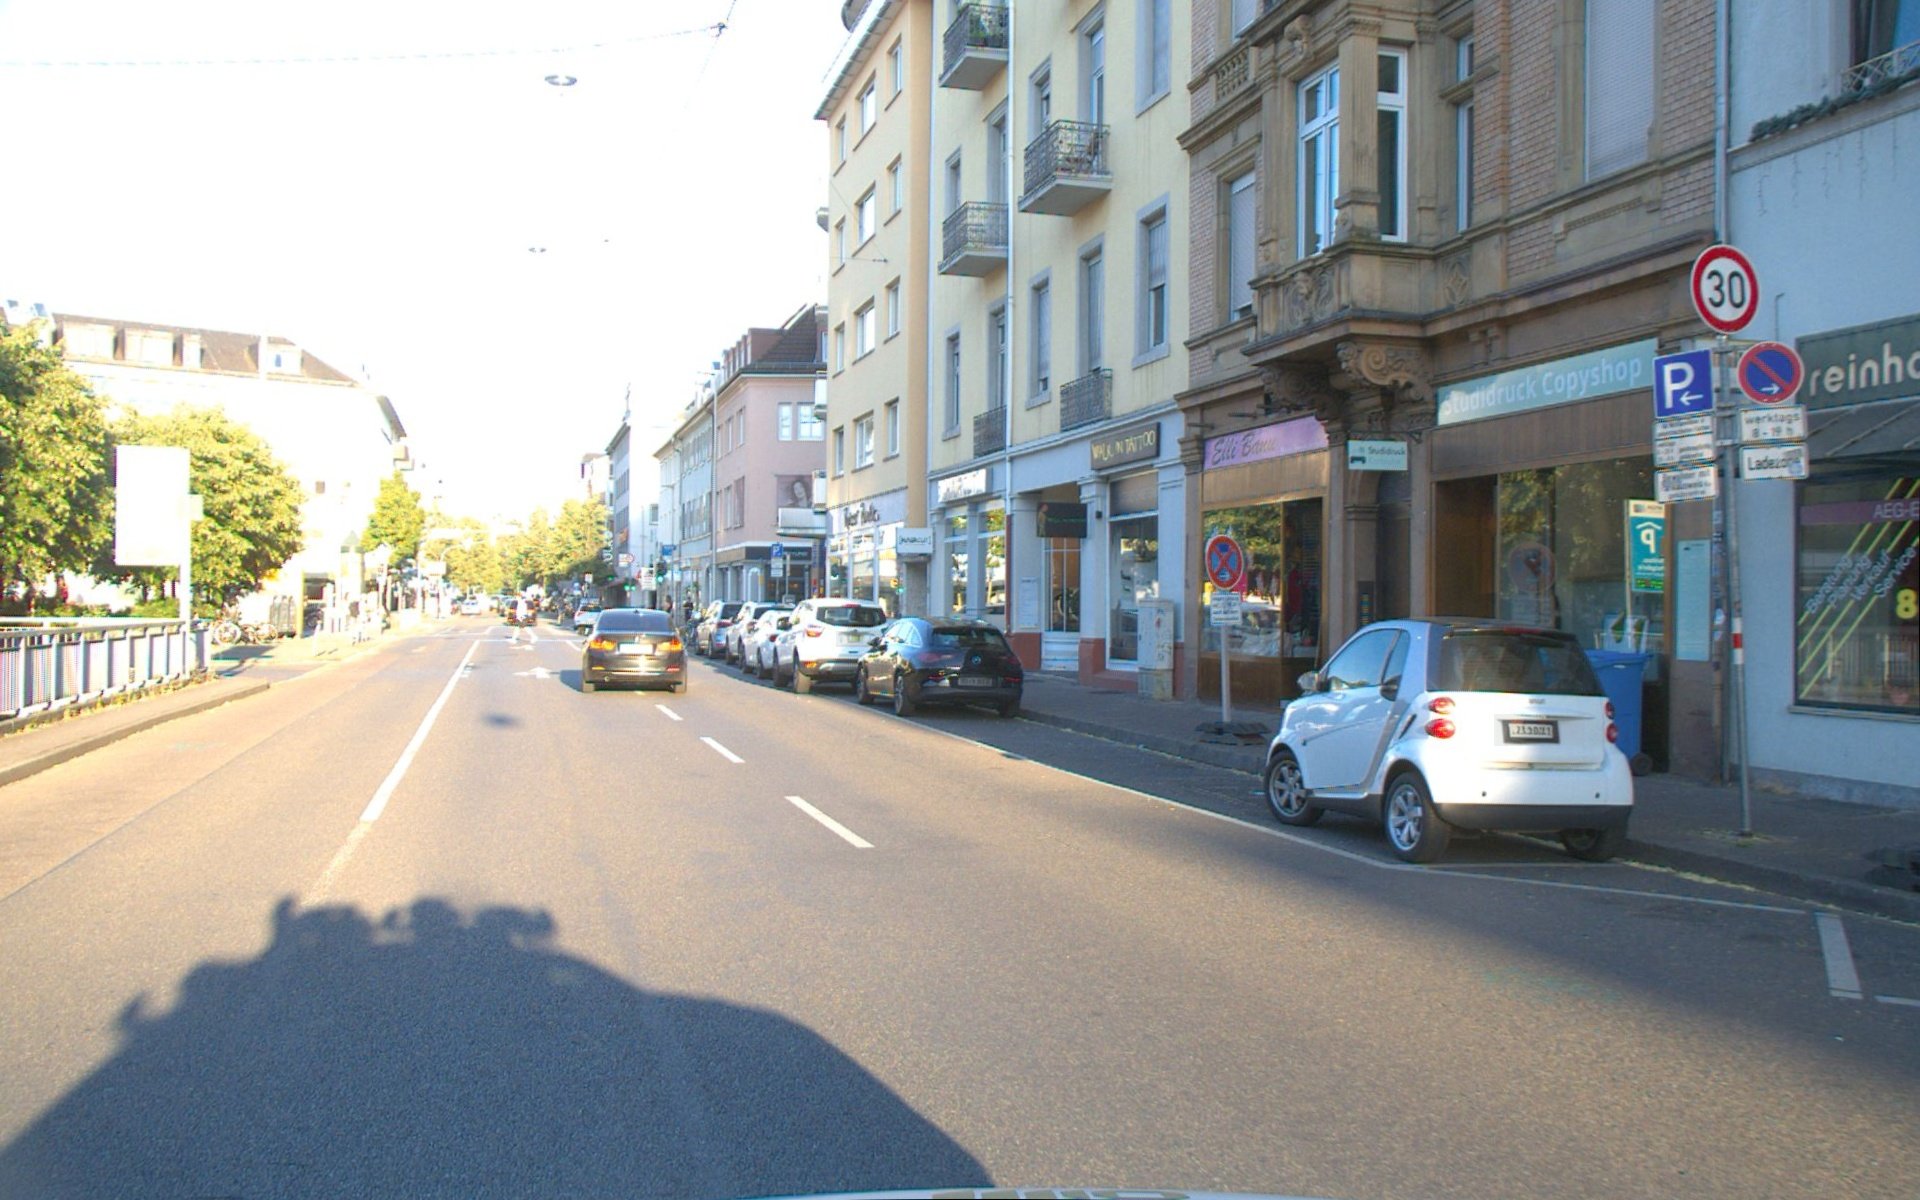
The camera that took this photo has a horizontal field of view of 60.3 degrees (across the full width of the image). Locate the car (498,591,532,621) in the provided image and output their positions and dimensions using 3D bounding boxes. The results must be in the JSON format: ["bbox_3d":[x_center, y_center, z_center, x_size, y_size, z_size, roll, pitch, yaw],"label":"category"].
[{"bbox_3d":[-27.328,0.374,101.578,1.961,1.780,3.983,1,0,-16],"label":"car"}]

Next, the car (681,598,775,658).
[{"bbox_3d":[-6.768,0.771,47.909,1.962,1.641,4.780,1,0,-17],"label":"car"}]

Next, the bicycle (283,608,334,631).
[{"bbox_3d":[-34.558,1.036,87.767,2.485,1.166,0.697,1,-1,-19],"label":"bicycle"}]

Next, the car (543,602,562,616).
[{"bbox_3d":[-49.081,1.062,199.140,1.865,1.624,3.978,1,0,-19],"label":"car"}]

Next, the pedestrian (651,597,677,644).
[{"bbox_3d":[-11.201,0.770,62.584,0.783,1.751,0.807,1,-1,-21],"label":"pedestrian"}]

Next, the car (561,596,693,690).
[{"bbox_3d":[-5.947,0.713,29.211,1.859,1.518,4.184,1,0,-17],"label":"car"}]

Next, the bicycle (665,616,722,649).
[{"bbox_3d":[-9.348,1.141,58.063,1.856,1.132,0.758,1,-1,-20],"label":"bicycle"}]

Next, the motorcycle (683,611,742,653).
[{"bbox_3d":[-7.946,1.018,53.096,1.784,1.285,0.712,0,0,-19],"label":"motorcycle"}]

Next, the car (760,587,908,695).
[{"bbox_3d":[-2.444,0.704,30.910,1.851,1.775,4.639,1,1,-16],"label":"car"}]

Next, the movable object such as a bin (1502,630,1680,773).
[{"bbox_3d":[5.709,0.886,15.038,0.852,1.207,1.392,1,0,-16],"label":"movable object such as a bin"}]

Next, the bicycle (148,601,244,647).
[{"bbox_3d":[-22.427,0.703,48.578,2.450,1.306,0.816,1,-1,4],"label":"bicycle"}]

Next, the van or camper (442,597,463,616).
[{"bbox_3d":[-67.667,0.825,220.623,2.436,2.447,3.977,1,0,-20],"label":"van or camper"}]

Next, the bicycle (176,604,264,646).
[{"bbox_3d":[-22.693,0.764,50.776,2.393,1.259,0.460,1,-1,-18],"label":"bicycle"}]

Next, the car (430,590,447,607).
[{"bbox_3d":[-65.954,-0.224,209.113,1.797,2.049,3.662,1,0,-14],"label":"car"}]

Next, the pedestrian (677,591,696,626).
[{"bbox_3d":[-14.277,0.433,86.272,0.746,1.808,1.042,1,-1,-21],"label":"pedestrian"}]

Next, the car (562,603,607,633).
[{"bbox_3d":[-21.206,0.997,93.343,2.296,1.632,3.877,1,0,-16],"label":"car"}]

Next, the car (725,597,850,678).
[{"bbox_3d":[-3.877,0.775,36.492,1.982,1.570,4.850,1,1,-15],"label":"car"}]

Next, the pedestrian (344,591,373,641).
[{"bbox_3d":[-21.385,0.557,58.833,0.871,1.751,0.709,1,-1,-27],"label":"pedestrian"}]

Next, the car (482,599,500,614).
[{"bbox_3d":[-56.881,0.737,200.713,1.960,1.780,3.985,1,0,-14],"label":"car"}]

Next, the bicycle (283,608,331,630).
[{"bbox_3d":[-35.420,1.030,89.725,2.284,1.151,0.796,1,-1,-15],"label":"bicycle"}]

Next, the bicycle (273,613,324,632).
[{"bbox_3d":[-33.252,1.116,83.180,2.291,0.935,0.697,1,-1,-19],"label":"bicycle"}]

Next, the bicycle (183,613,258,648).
[{"bbox_3d":[-22.940,0.937,51.311,2.011,0.988,0.633,3,-1,-18],"label":"bicycle"}]

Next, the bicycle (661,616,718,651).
[{"bbox_3d":[-9.345,1.159,57.224,1.856,1.188,0.719,0,0,-20],"label":"bicycle"}]

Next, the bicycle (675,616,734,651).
[{"bbox_3d":[-8.498,1.111,55.059,1.855,1.132,0.590,1,-2,-20],"label":"bicycle"}]

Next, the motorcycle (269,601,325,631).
[{"bbox_3d":[-32.141,0.787,80.240,2.374,1.451,1.107,1,-1,-17],"label":"motorcycle"}]

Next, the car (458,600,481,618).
[{"bbox_3d":[-45.642,0.817,154.014,1.862,1.624,3.985,1,0,-14],"label":"car"}]

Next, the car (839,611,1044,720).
[{"bbox_3d":[-0.413,0.926,25.293,1.961,1.459,4.830,1,0,-15],"label":"car"}]

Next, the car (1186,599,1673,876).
[{"bbox_3d":[3.250,0.848,12.322,1.672,1.612,3.983,0,1,-15],"label":"car"}]

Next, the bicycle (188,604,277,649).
[{"bbox_3d":[-22.091,0.800,50.246,2.393,1.259,0.515,2,-1,-18],"label":"bicycle"}]

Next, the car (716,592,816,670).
[{"bbox_3d":[-5.002,0.758,42.169,1.837,1.793,4.389,1,1,-16],"label":"car"}]

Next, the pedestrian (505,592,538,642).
[{"bbox_3d":[-15.482,0.612,58.411,0.864,1.751,0.748,2,-1,-41],"label":"pedestrian"}]

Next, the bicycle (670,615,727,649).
[{"bbox_3d":[-8.824,1.076,55.829,1.856,1.132,0.518,1,-1,-20],"label":"bicycle"}]
